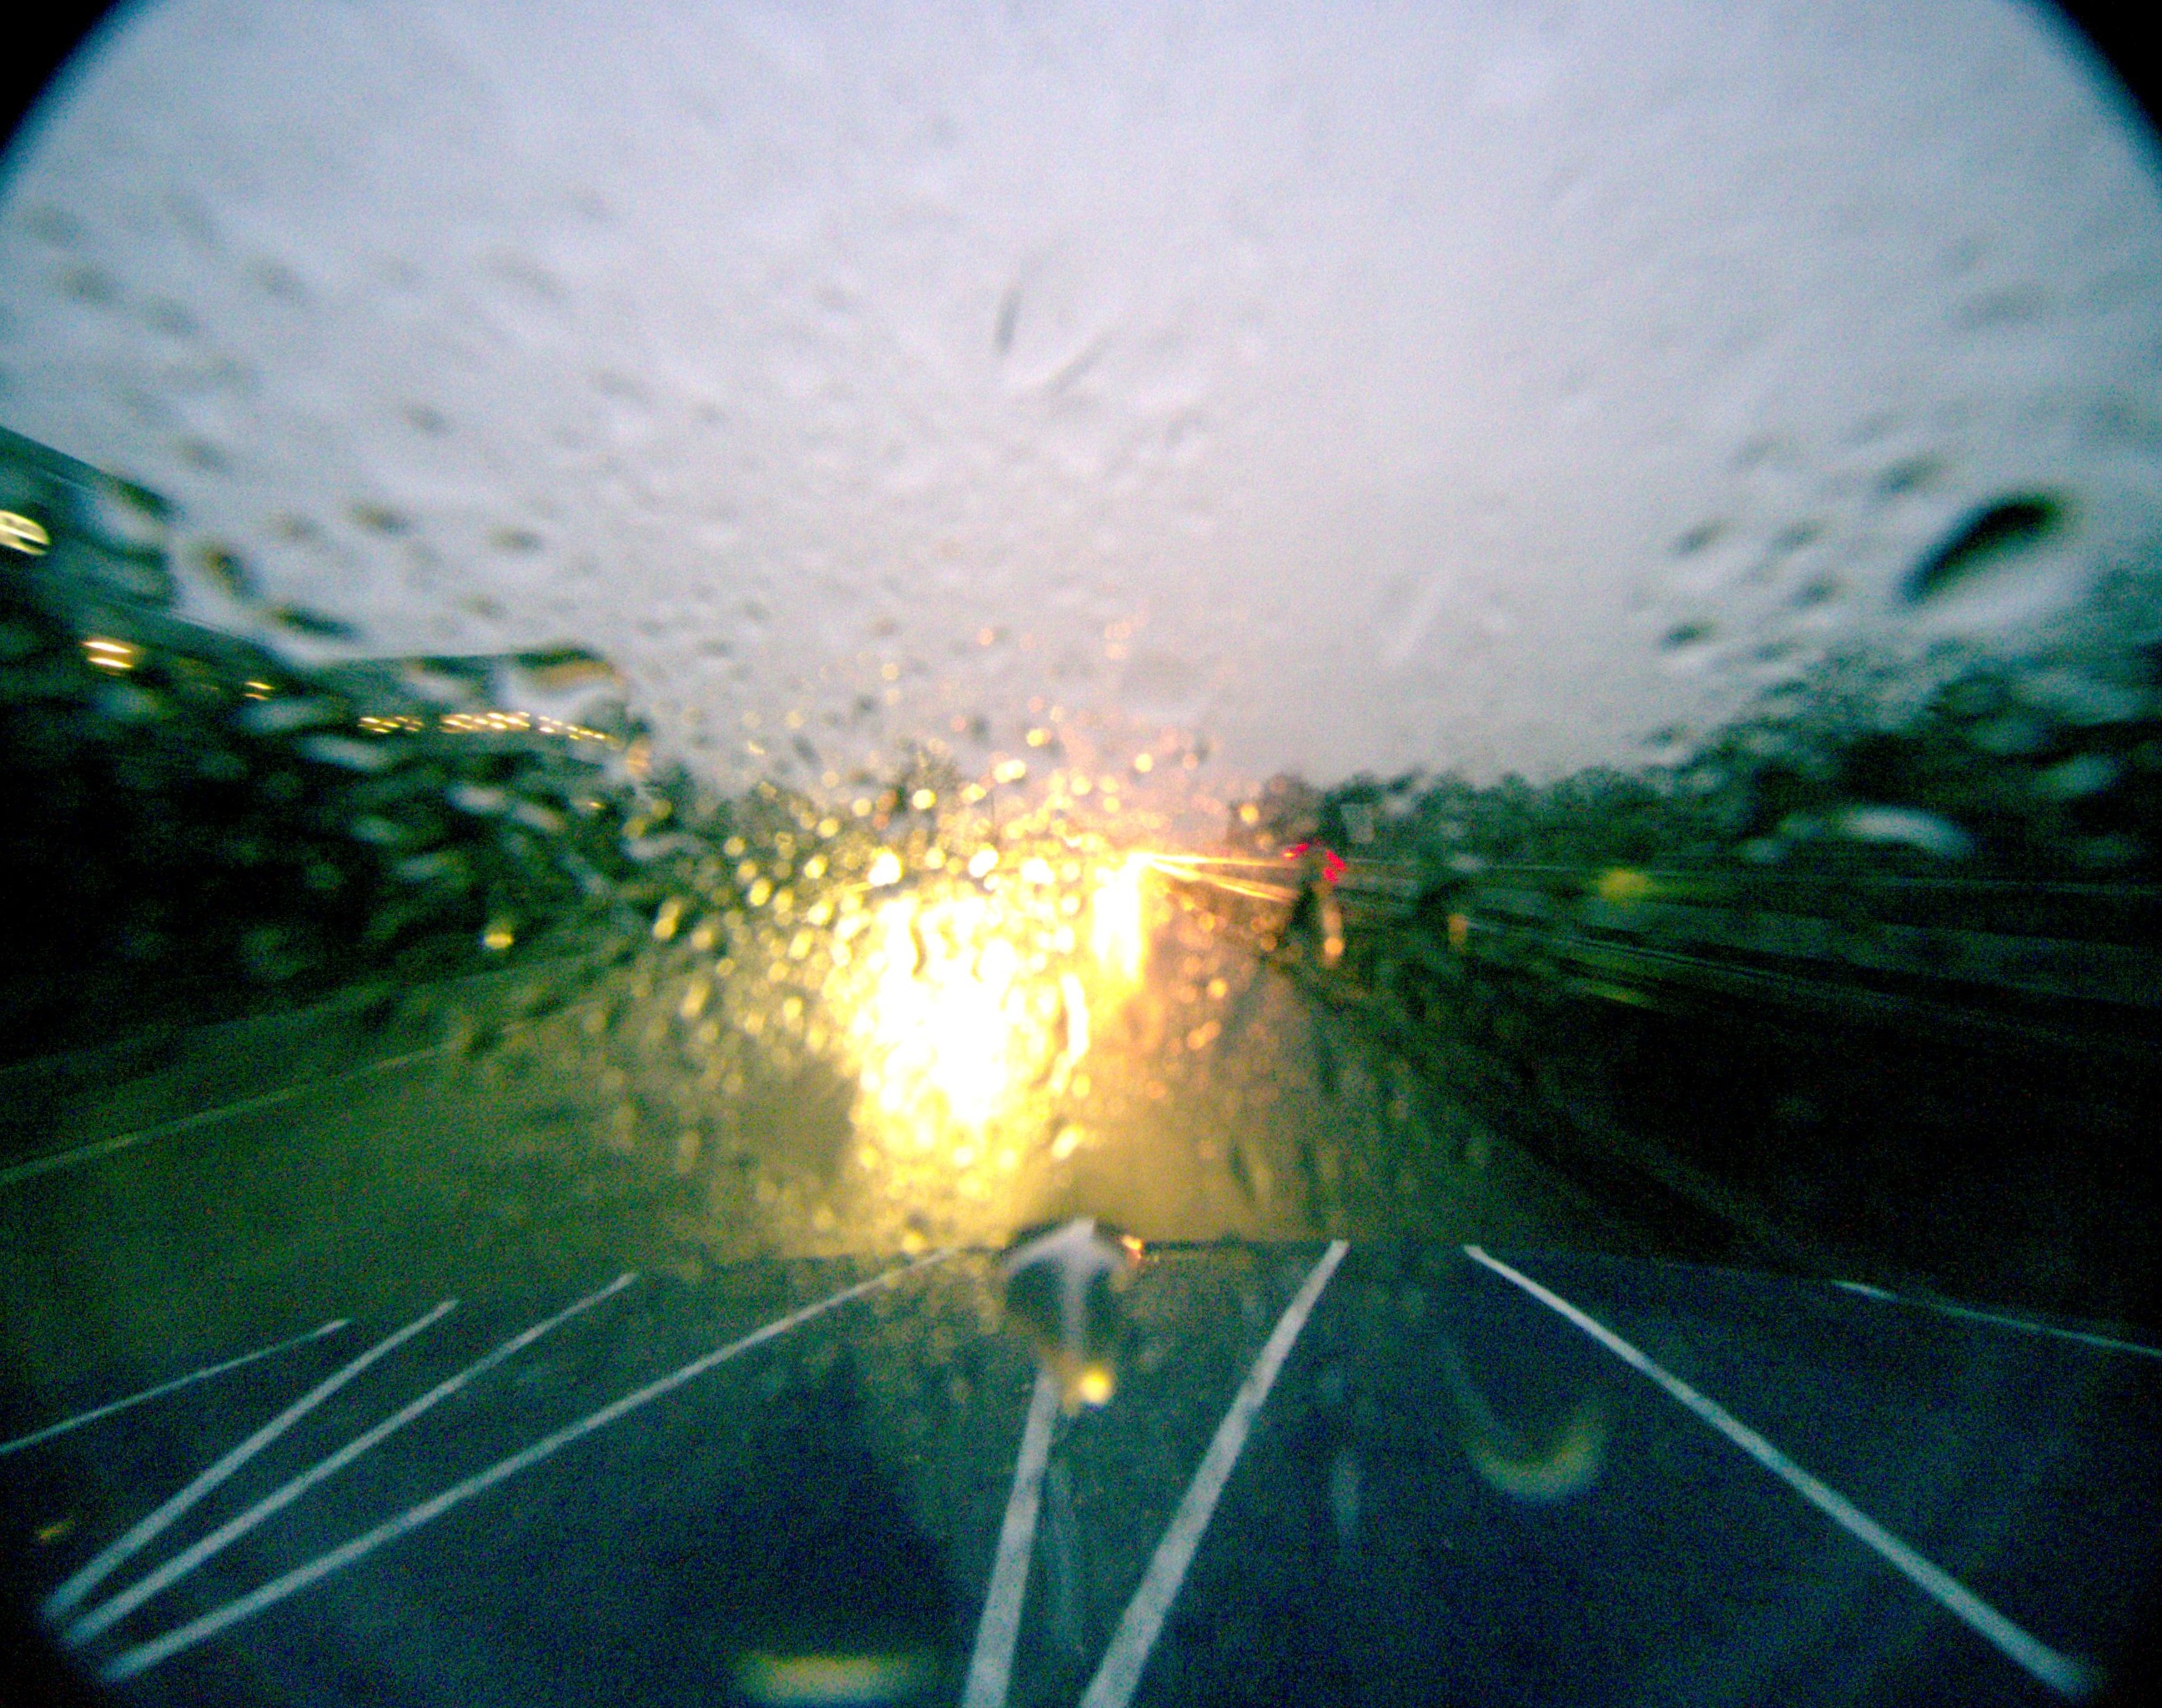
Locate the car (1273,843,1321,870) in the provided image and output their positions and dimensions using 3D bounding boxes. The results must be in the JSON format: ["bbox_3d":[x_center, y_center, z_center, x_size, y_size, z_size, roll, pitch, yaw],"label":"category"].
[{"bbox_3d":[13.400,0.147,47.426,1.842,1.547,4.355,-2,1,2],"label":"car"}]

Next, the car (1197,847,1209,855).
[{"bbox_3d":[20.907,-0.535,129.967,1.701,1.433,3.682,-2,1,4],"label":"car"}]

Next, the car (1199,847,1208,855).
[{"bbox_3d":[28.428,-0.752,176.317,1.870,1.618,4.781,-2,1,6],"label":"car"}]

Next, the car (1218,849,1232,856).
[{"bbox_3d":[27.069,-0.272,142.702,1.802,1.155,3.999,-2,0,-2],"label":"car"}]

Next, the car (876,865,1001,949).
[{"bbox_3d":[-2.825,1.004,15.962,1.594,1.445,4.177,-2,0,3],"label":"car"}]

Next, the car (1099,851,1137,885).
[{"bbox_3d":[1.905,0.651,37.968,1.758,1.521,4.001,-2,1,4],"label":"car"}]
